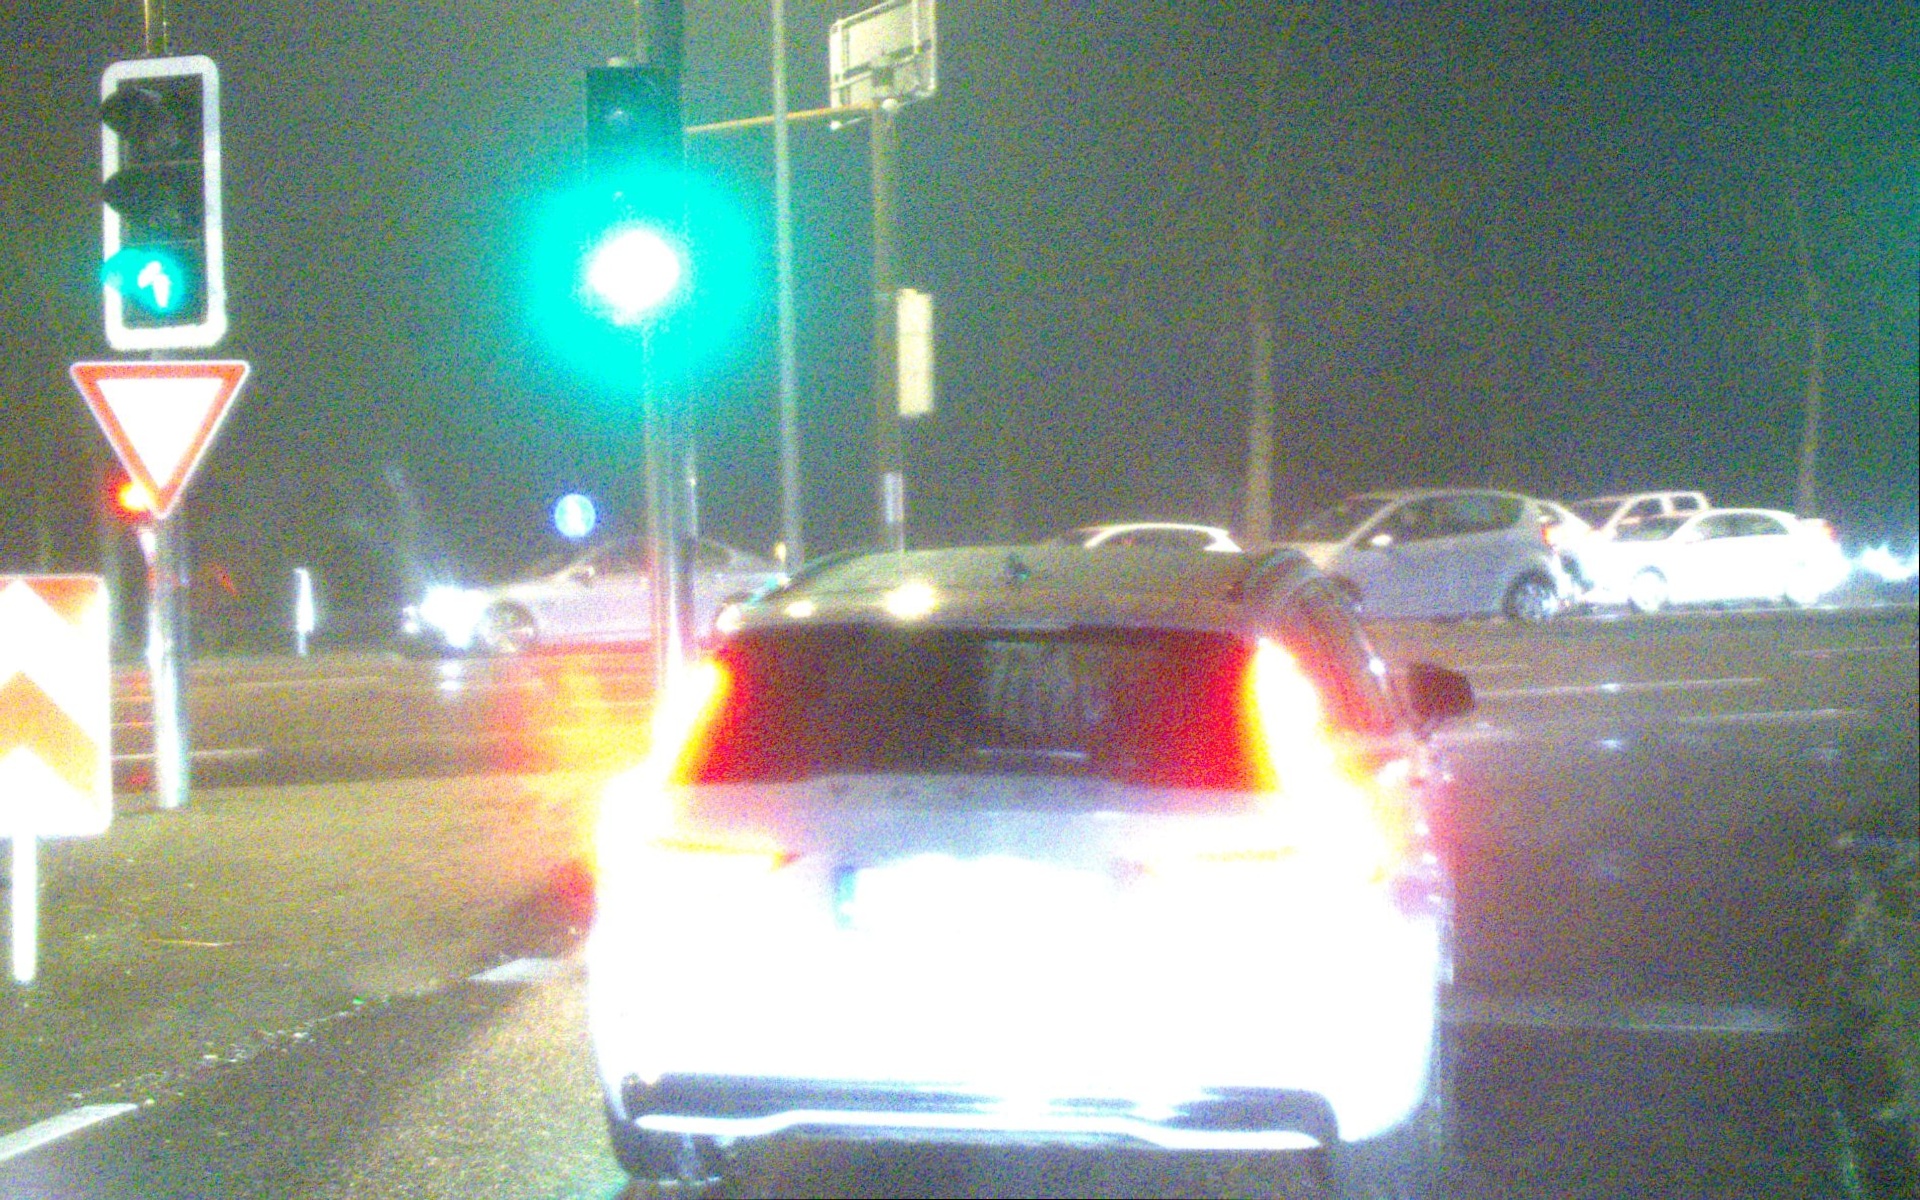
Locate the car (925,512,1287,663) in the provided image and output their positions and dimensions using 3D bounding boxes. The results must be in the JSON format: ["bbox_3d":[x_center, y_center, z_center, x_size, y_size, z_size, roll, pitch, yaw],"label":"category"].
[{"bbox_3d":[1.866,-0.155,43.687,4.270,1.842,1.766,0,0,-27],"label":"car"}]

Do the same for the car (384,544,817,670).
[{"bbox_3d":[-4.239,0.073,40.738,4.786,1.422,1.766,0,0,-26],"label":"car"}]

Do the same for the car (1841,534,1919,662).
[{"bbox_3d":[15.214,-0.036,50.779,4.110,1.842,1.766,0,0,-27],"label":"car"}]

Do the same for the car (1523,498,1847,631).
[{"bbox_3d":[10.147,-0.481,48.100,4.236,1.793,1.804,0,0,-27],"label":"car"}]

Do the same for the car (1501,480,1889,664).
[{"bbox_3d":[11.244,-0.419,52.553,5.589,2.701,2.257,0,0,-26],"label":"car"}]

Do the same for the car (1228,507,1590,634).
[{"bbox_3d":[5.462,-0.353,41.808,4.043,1.482,1.718,0,0,-23],"label":"car"}]

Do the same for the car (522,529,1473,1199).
[{"bbox_3d":[0.365,0.566,8.727,1.797,1.447,4.267,0,2,9],"label":"car"}]

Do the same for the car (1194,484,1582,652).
[{"bbox_3d":[4.735,-0.384,37.978,3.888,1.719,1.766,-2,2,-25],"label":"car"}]
